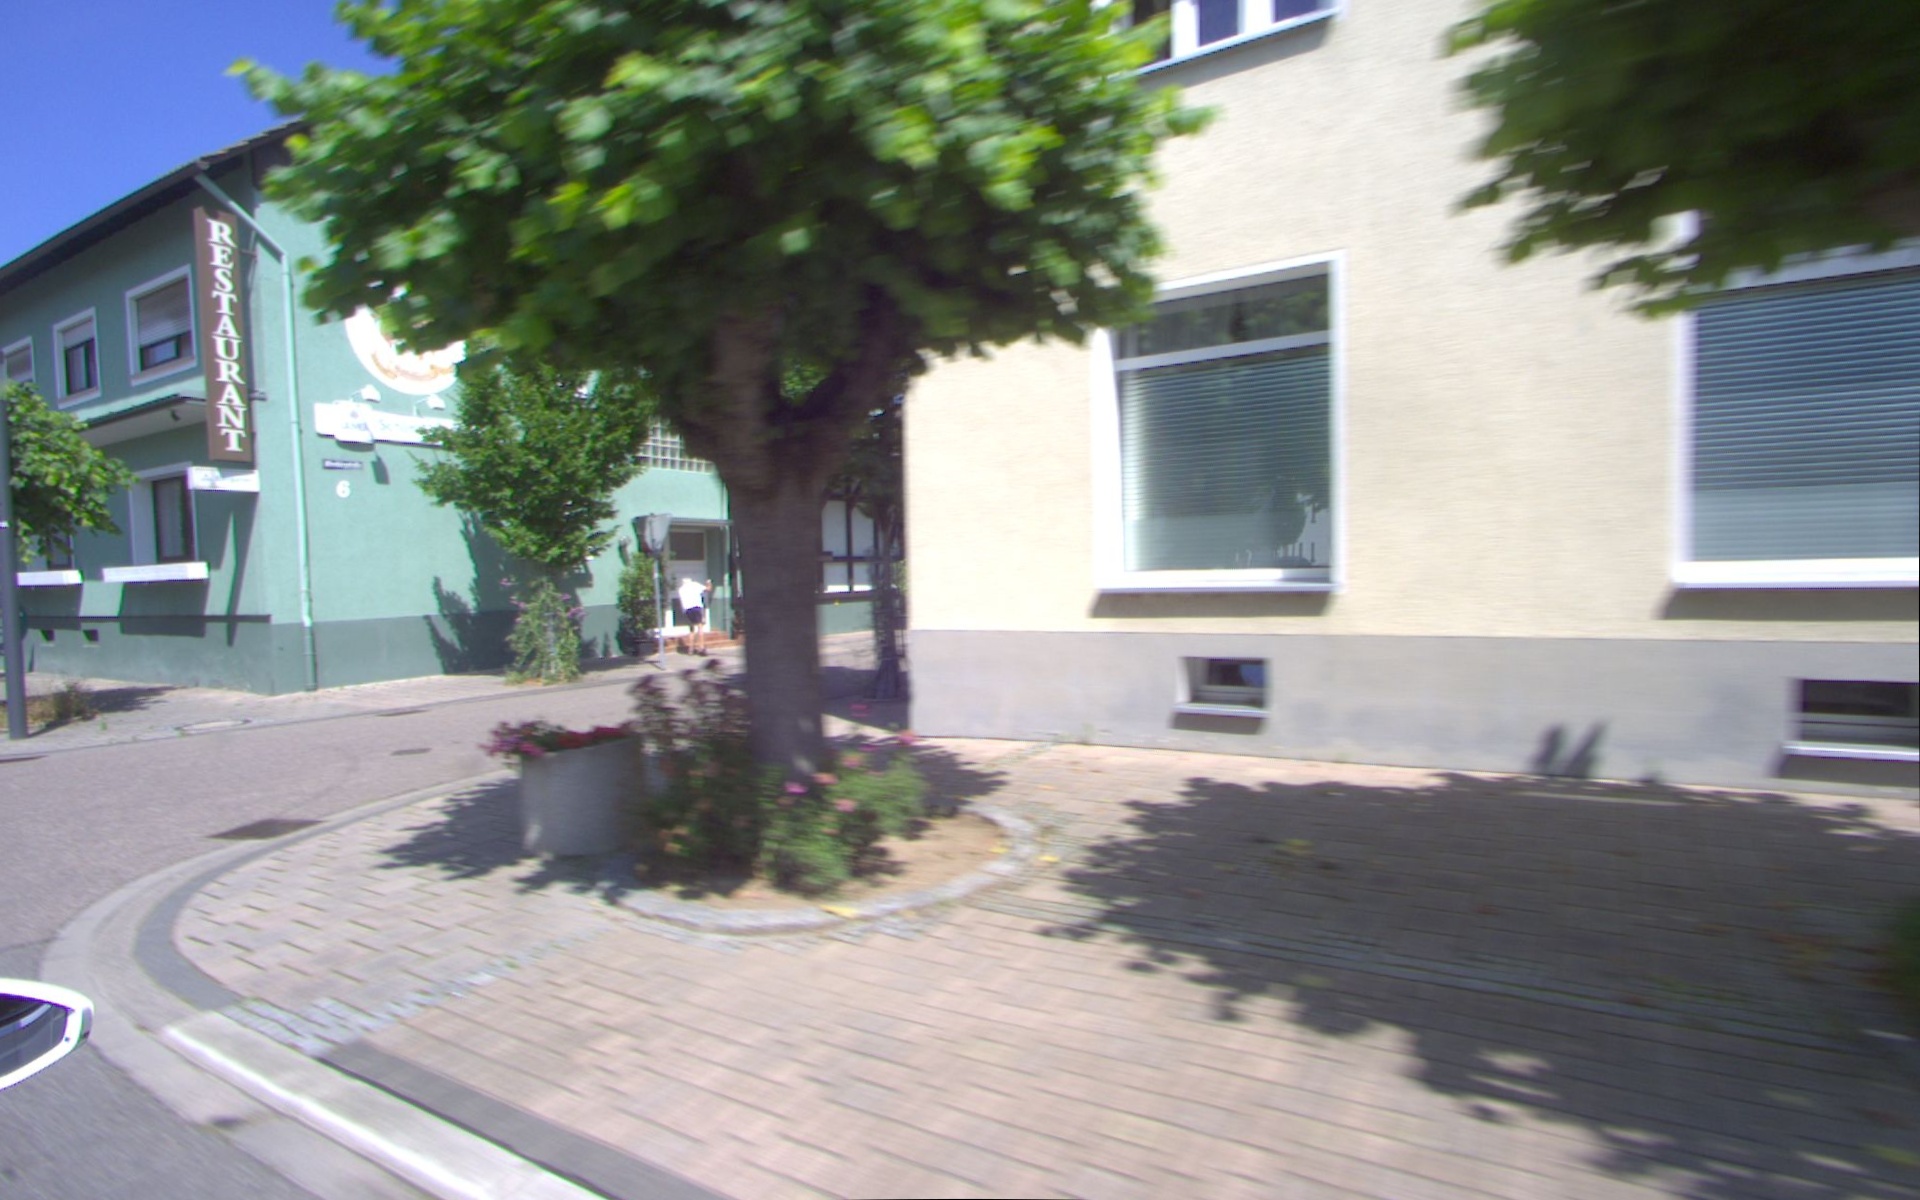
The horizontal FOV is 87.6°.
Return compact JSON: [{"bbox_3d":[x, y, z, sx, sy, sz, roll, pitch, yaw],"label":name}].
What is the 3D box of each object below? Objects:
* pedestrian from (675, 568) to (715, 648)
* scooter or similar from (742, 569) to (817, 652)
[{"bbox_3d":[-5.358,0.170,20.275,0.537,1.590,0.544,-1,0,29],"label":"pedestrian"},{"bbox_3d":[-3.842,0.195,21.323,1.175,1.670,1.090,4,5,36],"label":"scooter or similar"}]
